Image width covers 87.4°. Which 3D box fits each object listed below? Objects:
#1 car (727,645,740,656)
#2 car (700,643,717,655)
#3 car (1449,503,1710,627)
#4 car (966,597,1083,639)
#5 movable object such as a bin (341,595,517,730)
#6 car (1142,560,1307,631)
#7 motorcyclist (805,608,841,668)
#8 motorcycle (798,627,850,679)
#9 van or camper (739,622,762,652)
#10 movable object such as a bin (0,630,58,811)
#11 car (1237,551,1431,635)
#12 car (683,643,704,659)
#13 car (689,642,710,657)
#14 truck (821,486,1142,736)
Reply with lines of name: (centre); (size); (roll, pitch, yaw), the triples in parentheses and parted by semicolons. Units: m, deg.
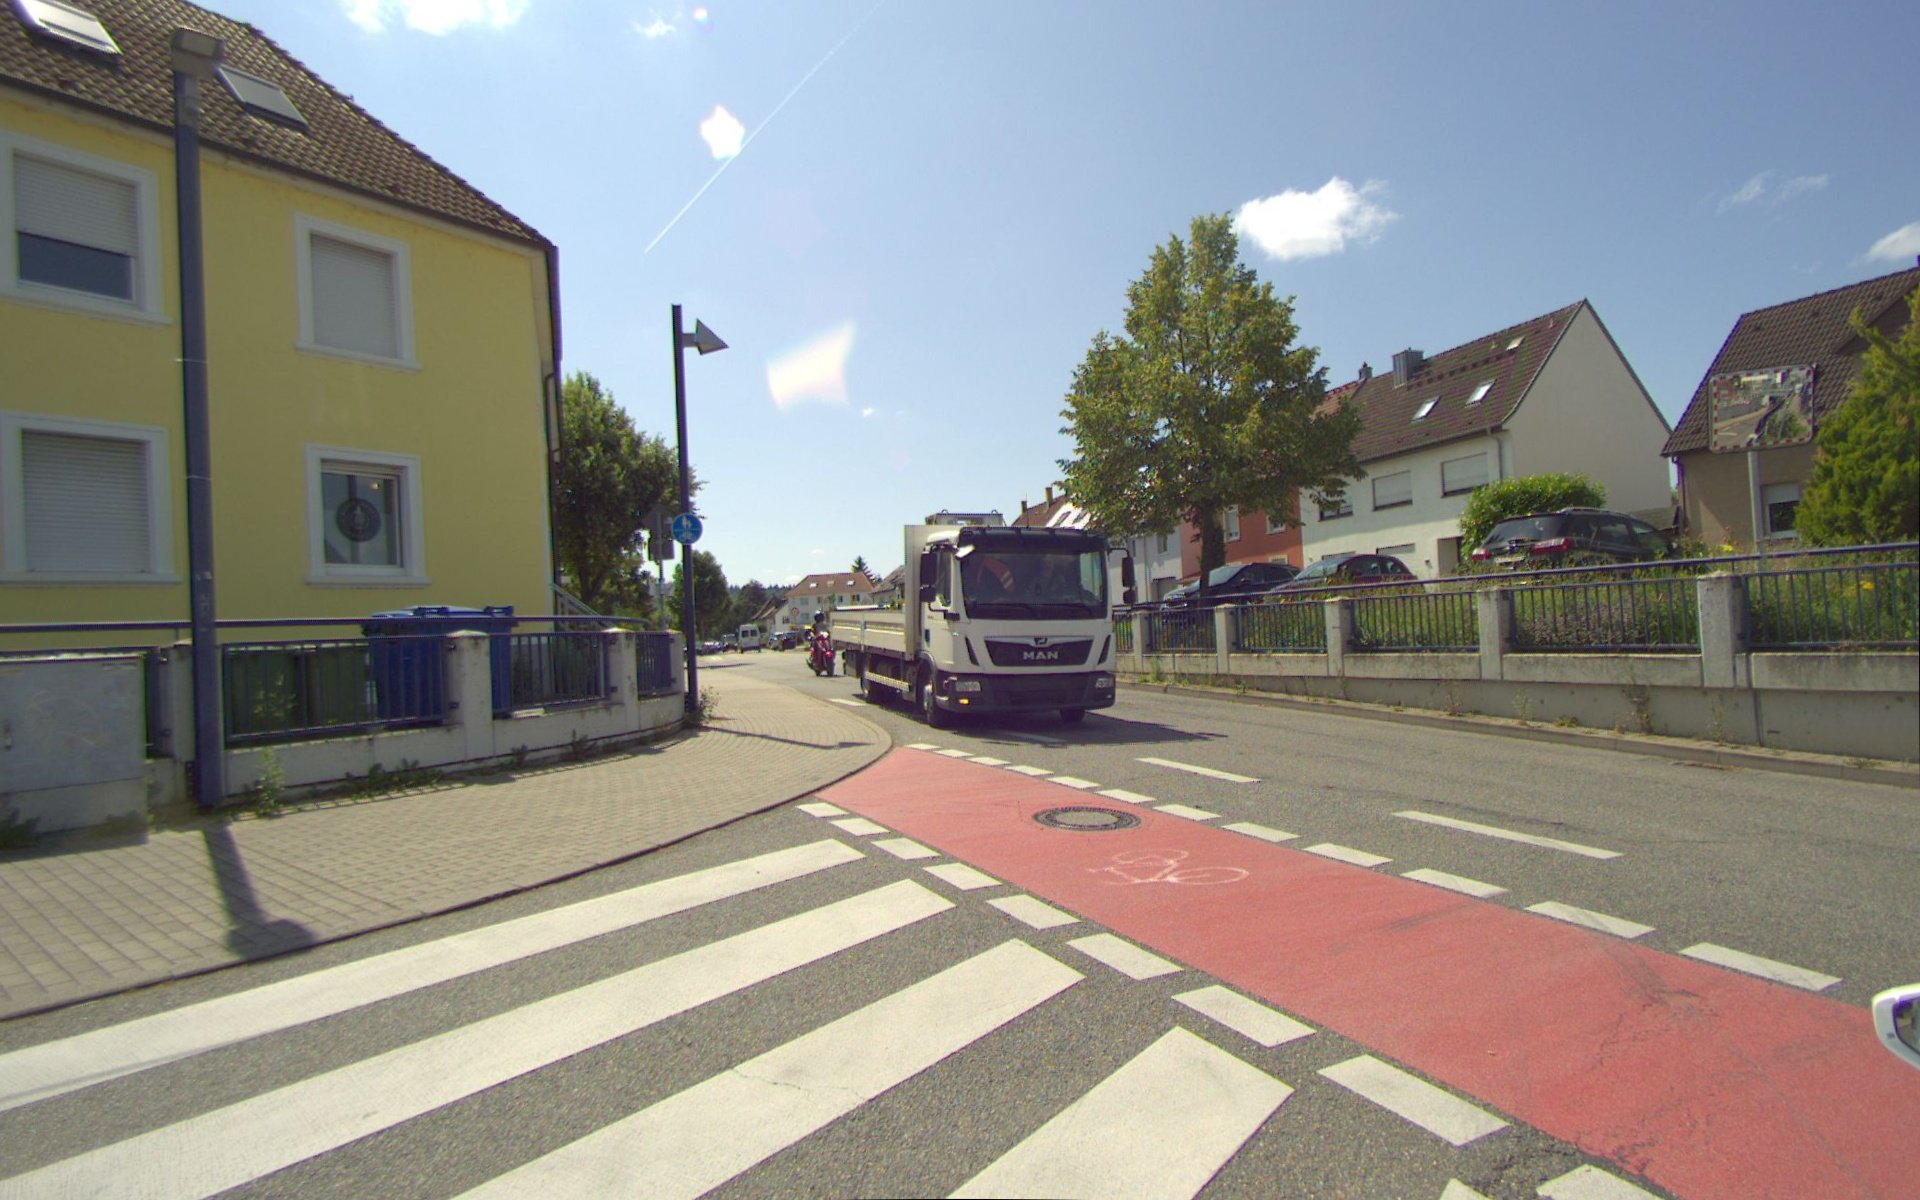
car: (-33.115, 7.319, 146.884); (1.782, 1.416, 3.991); (-3, 0, -12)
car: (-31.185, 6.072, 124.577); (1.782, 1.416, 3.991); (-2, -1, -12)
car: (10.172, -0.517, 16.476); (3.948, 1.821, 1.860); (0, 1, -27)
car: (2.480, 0.677, 38.793); (4.192, 1.508, 1.739); (0, 1, -21)
movable object such as a bin: (-5.193, 0.590, 9.891); (0.826, 1.229, 1.275); (-3, -1, 24)
car: (6.418, -0.098, 24.403); (3.563, 1.608, 1.860); (0, 1, -27)
motorcyclist: (-3.556, 0.979, 26.060); (0.719, 1.520, 0.766); (1, -2, -26)
motorcycle: (-3.547, 1.359, 26.064); (0.719, 1.308, 2.131); (1, -2, -25)
van or camper: (-19.581, 3.378, 93.635); (1.970, 2.665, 5.379); (1, -1, -13)
movable object such as a bin: (-7.089, 0.857, 7.123); (0.874, 1.241, 0.898); (-3, -2, 39)
car: (7.762, -0.142, 20.833); (3.563, 1.608, 1.860); (0, 1, -27)
car: (-26.174, 5.019, 98.785); (1.966, 1.416, 3.989); (-2, -1, -15)
car: (-28.148, 5.338, 108.543); (1.965, 1.416, 3.991); (-2, -1, -12)
truck: (-0.207, 0.267, 15.949); (2.577, 2.914, 8.041); (0, -2, -18)
